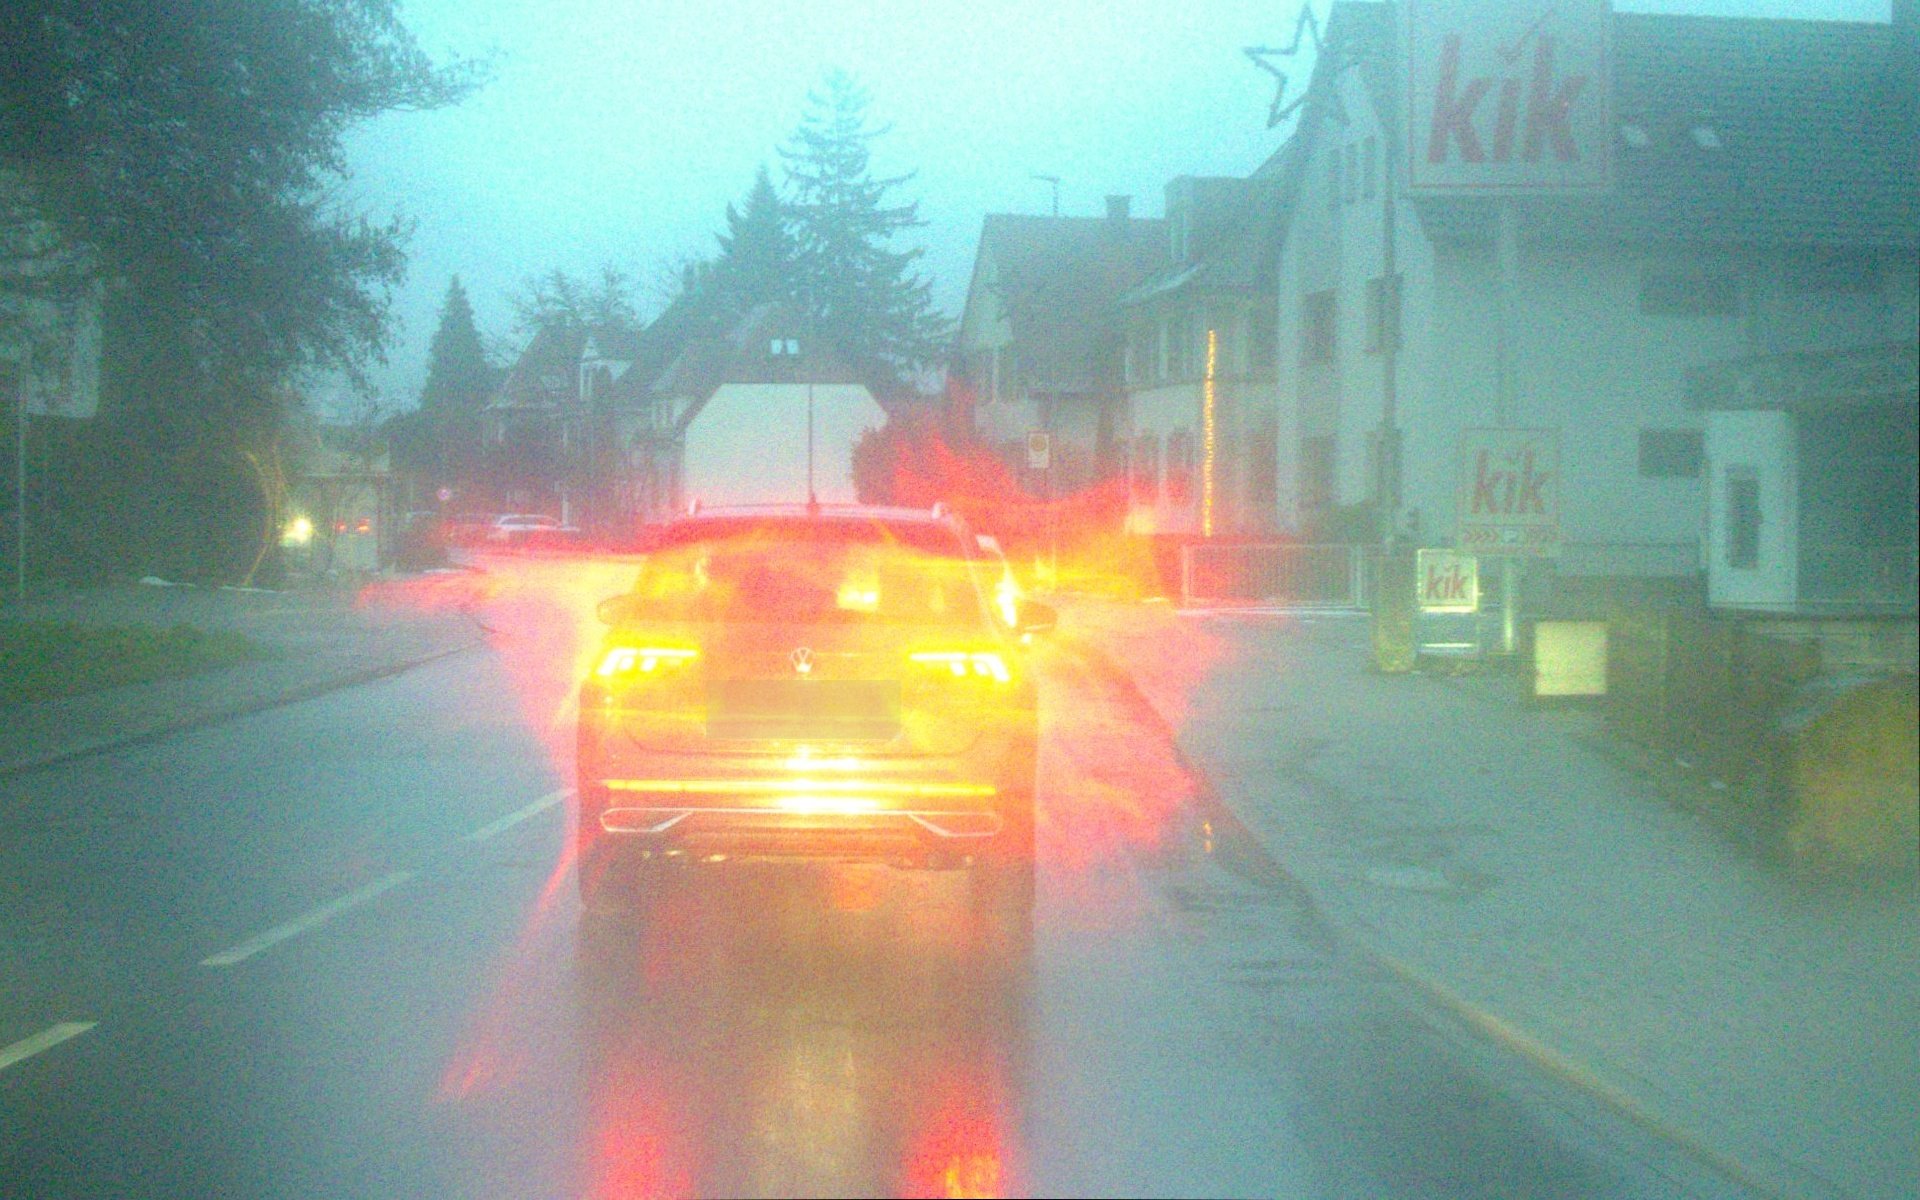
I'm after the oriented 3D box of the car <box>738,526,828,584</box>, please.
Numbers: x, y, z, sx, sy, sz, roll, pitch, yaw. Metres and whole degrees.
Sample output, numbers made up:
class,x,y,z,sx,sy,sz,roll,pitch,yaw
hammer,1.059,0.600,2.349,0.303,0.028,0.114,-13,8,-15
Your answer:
class,x,y,z,sx,sy,sz,roll,pitch,yaw
car,-4.216,-1.077,81.453,1.842,1.327,3.939,0,1,-7

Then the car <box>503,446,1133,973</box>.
class,x,y,z,sx,sy,sz,roll,pitch,yaw
car,-0.548,0.365,15.121,2.309,1.932,5.018,0,1,-1

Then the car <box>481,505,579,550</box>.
class,x,y,z,sx,sy,sz,roll,pitch,yaw
car,-19.396,-3.266,154.993,4.245,2.007,1.811,0,1,-13

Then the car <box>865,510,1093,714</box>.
class,x,y,z,sx,sy,sz,roll,pitch,yaw
car,0.129,0.046,30.467,1.857,1.641,4.001,1,2,-1
